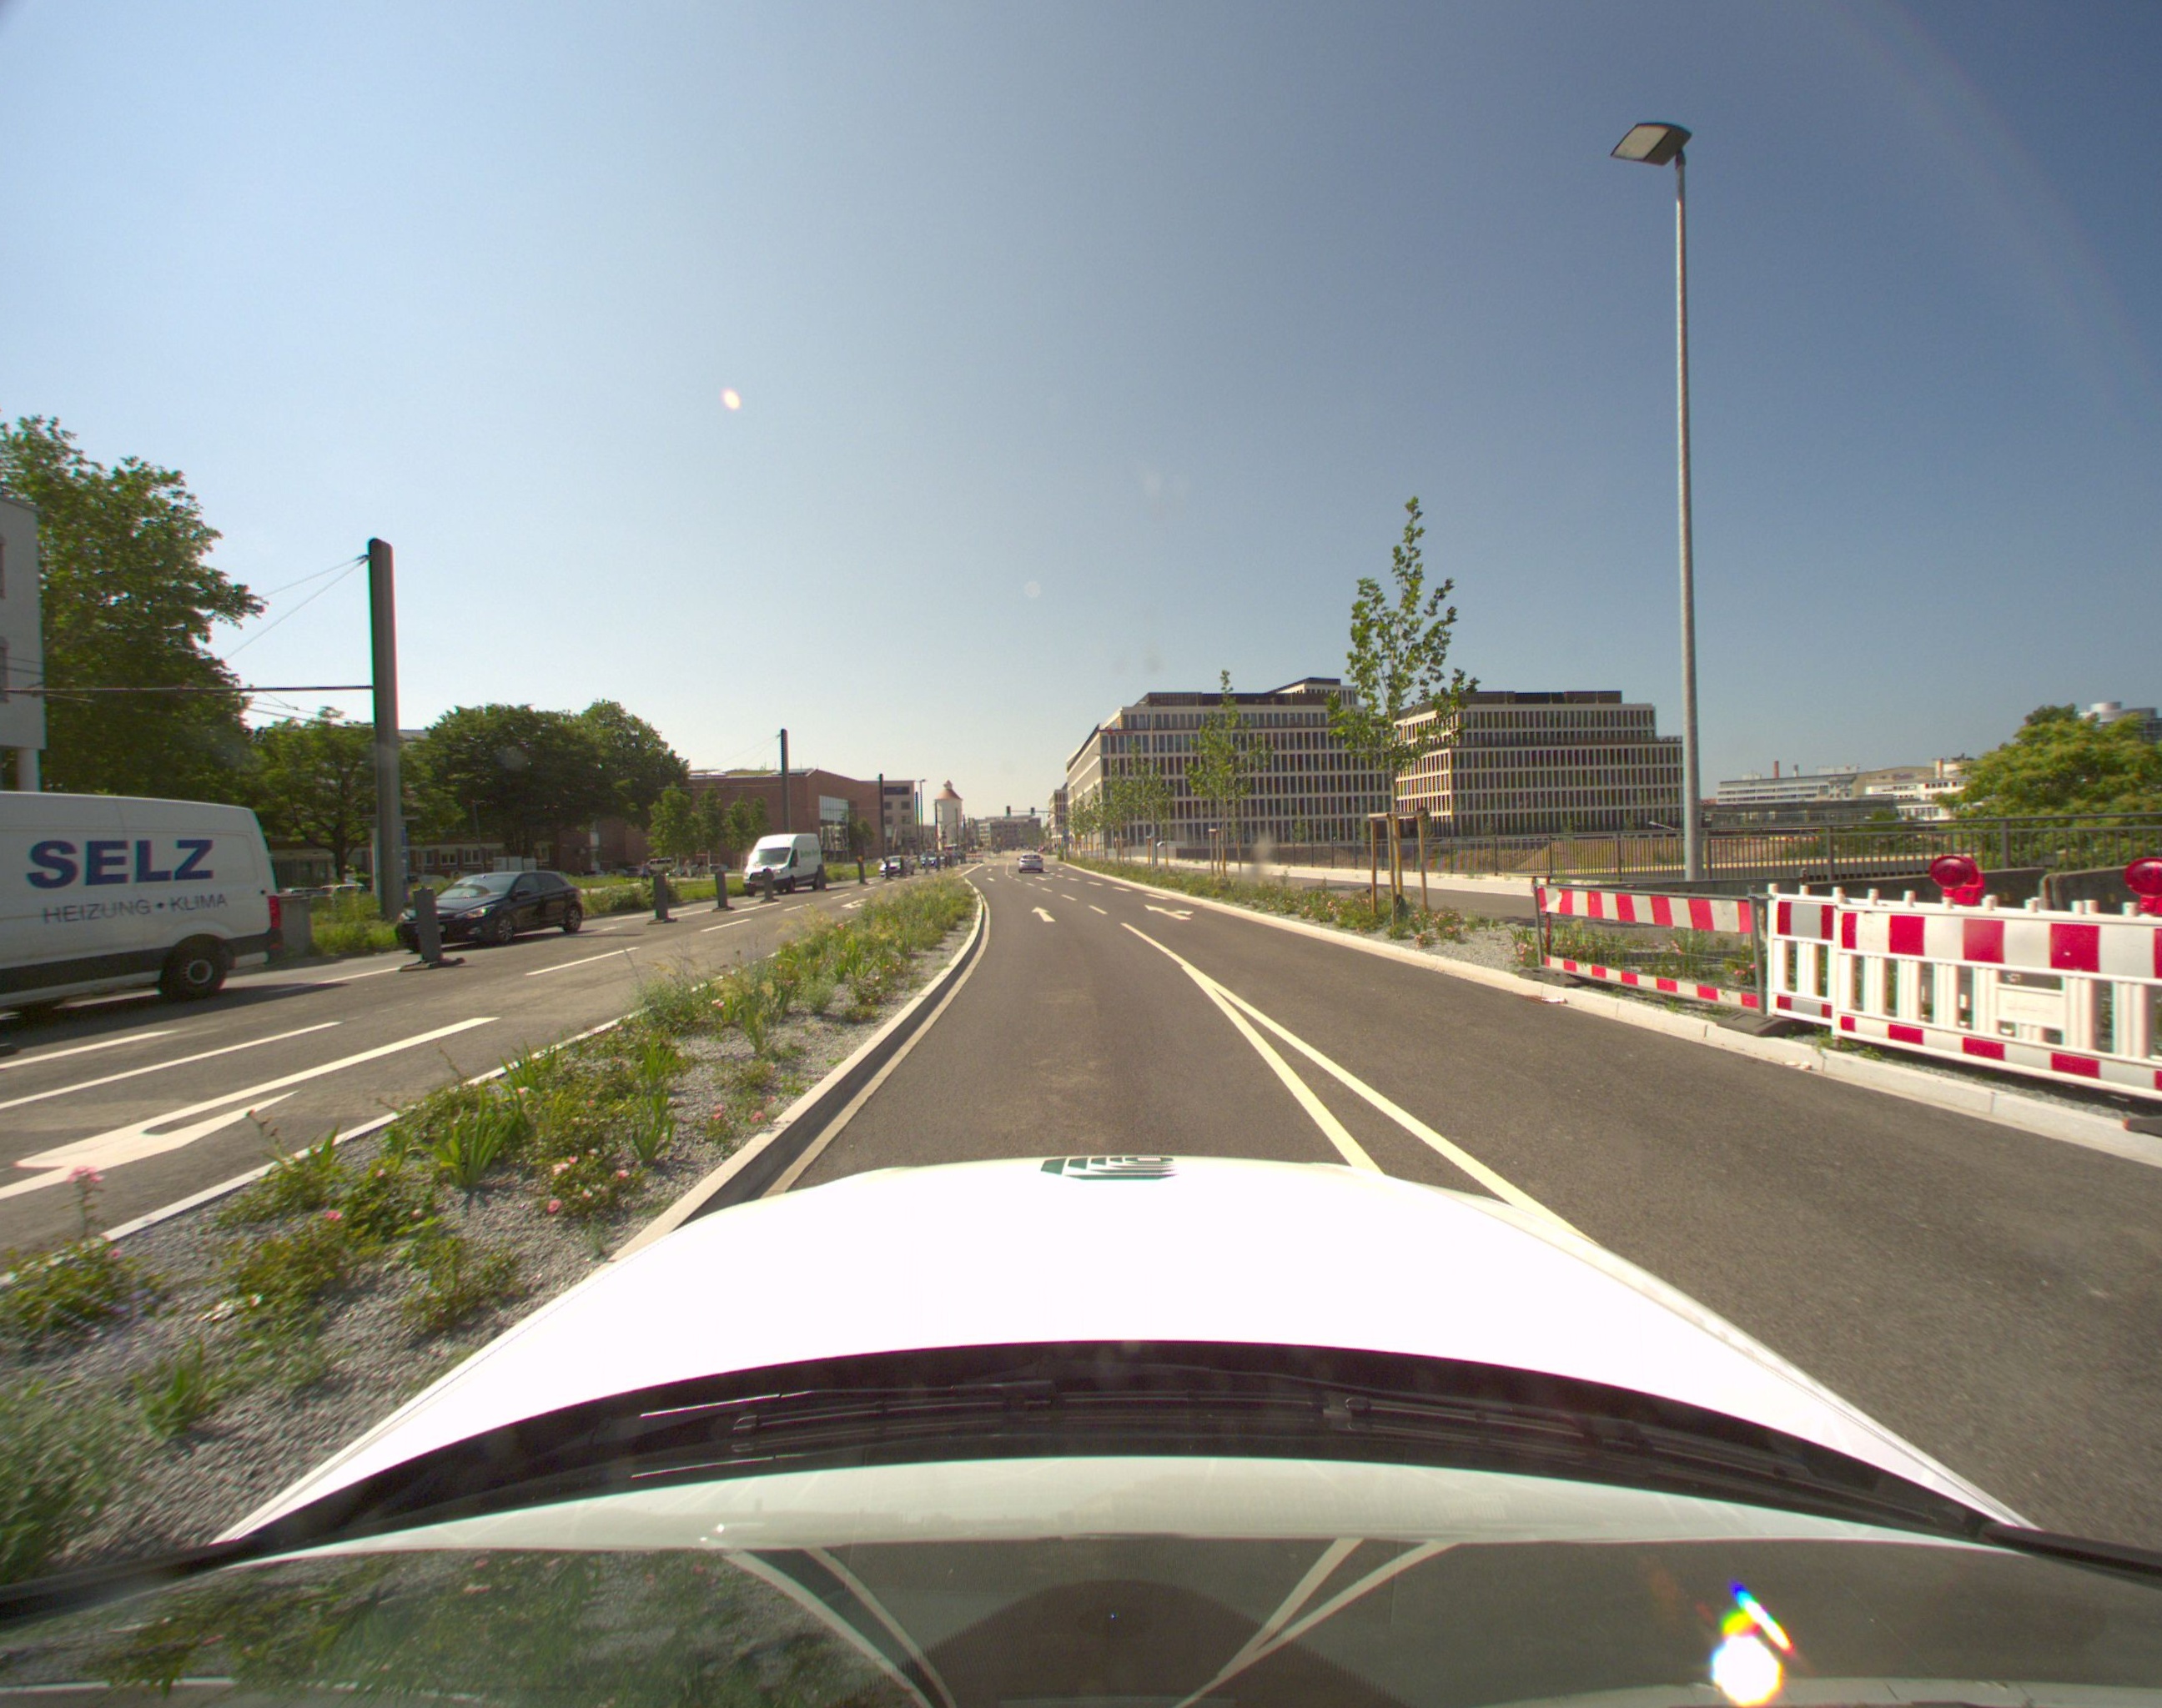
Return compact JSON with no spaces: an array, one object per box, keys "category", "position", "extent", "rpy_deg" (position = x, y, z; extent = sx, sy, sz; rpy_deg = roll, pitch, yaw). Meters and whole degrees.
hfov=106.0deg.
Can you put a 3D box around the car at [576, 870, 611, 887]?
[{"category":"car","position":[-46.934,2.353,78.538],"extent":[1.538,1.457,3.776],"rpy_deg":[-1,0,-9]}]

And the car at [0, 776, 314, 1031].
[{"category":"car","position":[-11.935,0.565,8.524],"extent":[2.026,2.578,6.187],"rpy_deg":[-4,0,-3]}]

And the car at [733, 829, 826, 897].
[{"category":"car","position":[-13.769,0.354,37.695],"extent":[2.072,2.740,5.982],"rpy_deg":[-4,0,-2]}]

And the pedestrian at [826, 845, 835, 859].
[{"category":"pedestrian","position":[-34.589,-0.309,112.322],"extent":[0.808,1.846,1.107],"rpy_deg":[-1,1,1]}]

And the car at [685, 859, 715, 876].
[{"category":"car","position":[-42.487,1.457,90.970],"extent":[1.695,1.761,3.933],"rpy_deg":[-1,0,-4]}]

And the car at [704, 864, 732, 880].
[{"category":"car","position":[-43.232,2.137,96.991],"extent":[1.695,1.761,4.294],"rpy_deg":[-1,0,-5]}]

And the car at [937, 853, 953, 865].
[{"category":"car","position":[-17.070,0.586,102.201],"extent":[1.578,1.416,3.992],"rpy_deg":[-3,0,-5]}]

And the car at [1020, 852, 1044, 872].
[{"category":"car","position":[-3.653,0.594,60.945],"extent":[1.767,1.395,3.528],"rpy_deg":[-1,-1,-3]}]

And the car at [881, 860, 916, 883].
[{"category":"car","position":[-13.318,1.230,59.642],"extent":[1.670,1.443,4.463],"rpy_deg":[-4,0,-3]}]

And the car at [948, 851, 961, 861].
[{"category":"car","position":[-18.769,0.291,121.241],"extent":[1.626,1.427,4.281],"rpy_deg":[-3,1,-6]}]

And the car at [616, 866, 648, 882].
[{"category":"car","position":[-48.773,2.159,88.548],"extent":[1.536,1.457,3.782],"rpy_deg":[-1,1,-5]}]

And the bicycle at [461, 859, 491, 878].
[{"category":"bicycle","position":[-32.244,0.750,43.439],"extent":[0.459,0.985,1.556],"rpy_deg":[0,1,-2]}]

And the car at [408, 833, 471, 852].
[{"category":"car","position":[-53.295,-0.959,67.732],"extent":[3.754,1.457,1.532],"rpy_deg":[1,-2,-22]}]

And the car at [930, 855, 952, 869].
[{"category":"car","position":[-15.450,0.871,89.995],"extent":[1.575,1.416,4.295],"rpy_deg":[-3,0,0]}]

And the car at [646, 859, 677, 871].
[{"category":"car","position":[-60.502,1.571,117.570],"extent":[3.537,1.689,1.691],"rpy_deg":[-1,1,-5]}]

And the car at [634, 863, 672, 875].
[{"category":"car","position":[-57.689,2.018,109.848],"extent":[3.974,1.403,2.000],"rpy_deg":[-1,0,0]}]

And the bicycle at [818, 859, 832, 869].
[{"category":"bicycle","position":[-40.755,1.632,129.659],"extent":[2.055,1.453,0.536],"rpy_deg":[-2,1,-16]}]

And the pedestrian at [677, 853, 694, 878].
[{"category":"pedestrian","position":[-32.700,0.926,67.327],"extent":[0.837,2.013,0.983],"rpy_deg":[-1,1,-2]}]

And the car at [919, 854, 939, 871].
[{"category":"car","position":[-14.669,0.831,78.598],"extent":[1.579,1.530,3.611],"rpy_deg":[-4,0,-7]}]

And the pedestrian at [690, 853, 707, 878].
[{"category":"pedestrian","position":[-31.643,0.938,67.371],"extent":[0.981,2.013,0.909],"rpy_deg":[-1,0,-3]}]

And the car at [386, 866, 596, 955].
[{"category":"car","position":[-12.258,1.091,17.295],"extent":[1.543,1.457,4.186],"rpy_deg":[-4,1,-4]}]

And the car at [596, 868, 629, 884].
[{"category":"car","position":[-47.729,2.262,83.071],"extent":[1.537,1.457,3.778],"rpy_deg":[-1,1,-8]}]

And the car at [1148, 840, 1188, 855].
[{"category":"car","position":[13.357,-1.077,125.602],"extent":[5.827,2.270,2.143],"rpy_deg":[0,1,-5]}]
